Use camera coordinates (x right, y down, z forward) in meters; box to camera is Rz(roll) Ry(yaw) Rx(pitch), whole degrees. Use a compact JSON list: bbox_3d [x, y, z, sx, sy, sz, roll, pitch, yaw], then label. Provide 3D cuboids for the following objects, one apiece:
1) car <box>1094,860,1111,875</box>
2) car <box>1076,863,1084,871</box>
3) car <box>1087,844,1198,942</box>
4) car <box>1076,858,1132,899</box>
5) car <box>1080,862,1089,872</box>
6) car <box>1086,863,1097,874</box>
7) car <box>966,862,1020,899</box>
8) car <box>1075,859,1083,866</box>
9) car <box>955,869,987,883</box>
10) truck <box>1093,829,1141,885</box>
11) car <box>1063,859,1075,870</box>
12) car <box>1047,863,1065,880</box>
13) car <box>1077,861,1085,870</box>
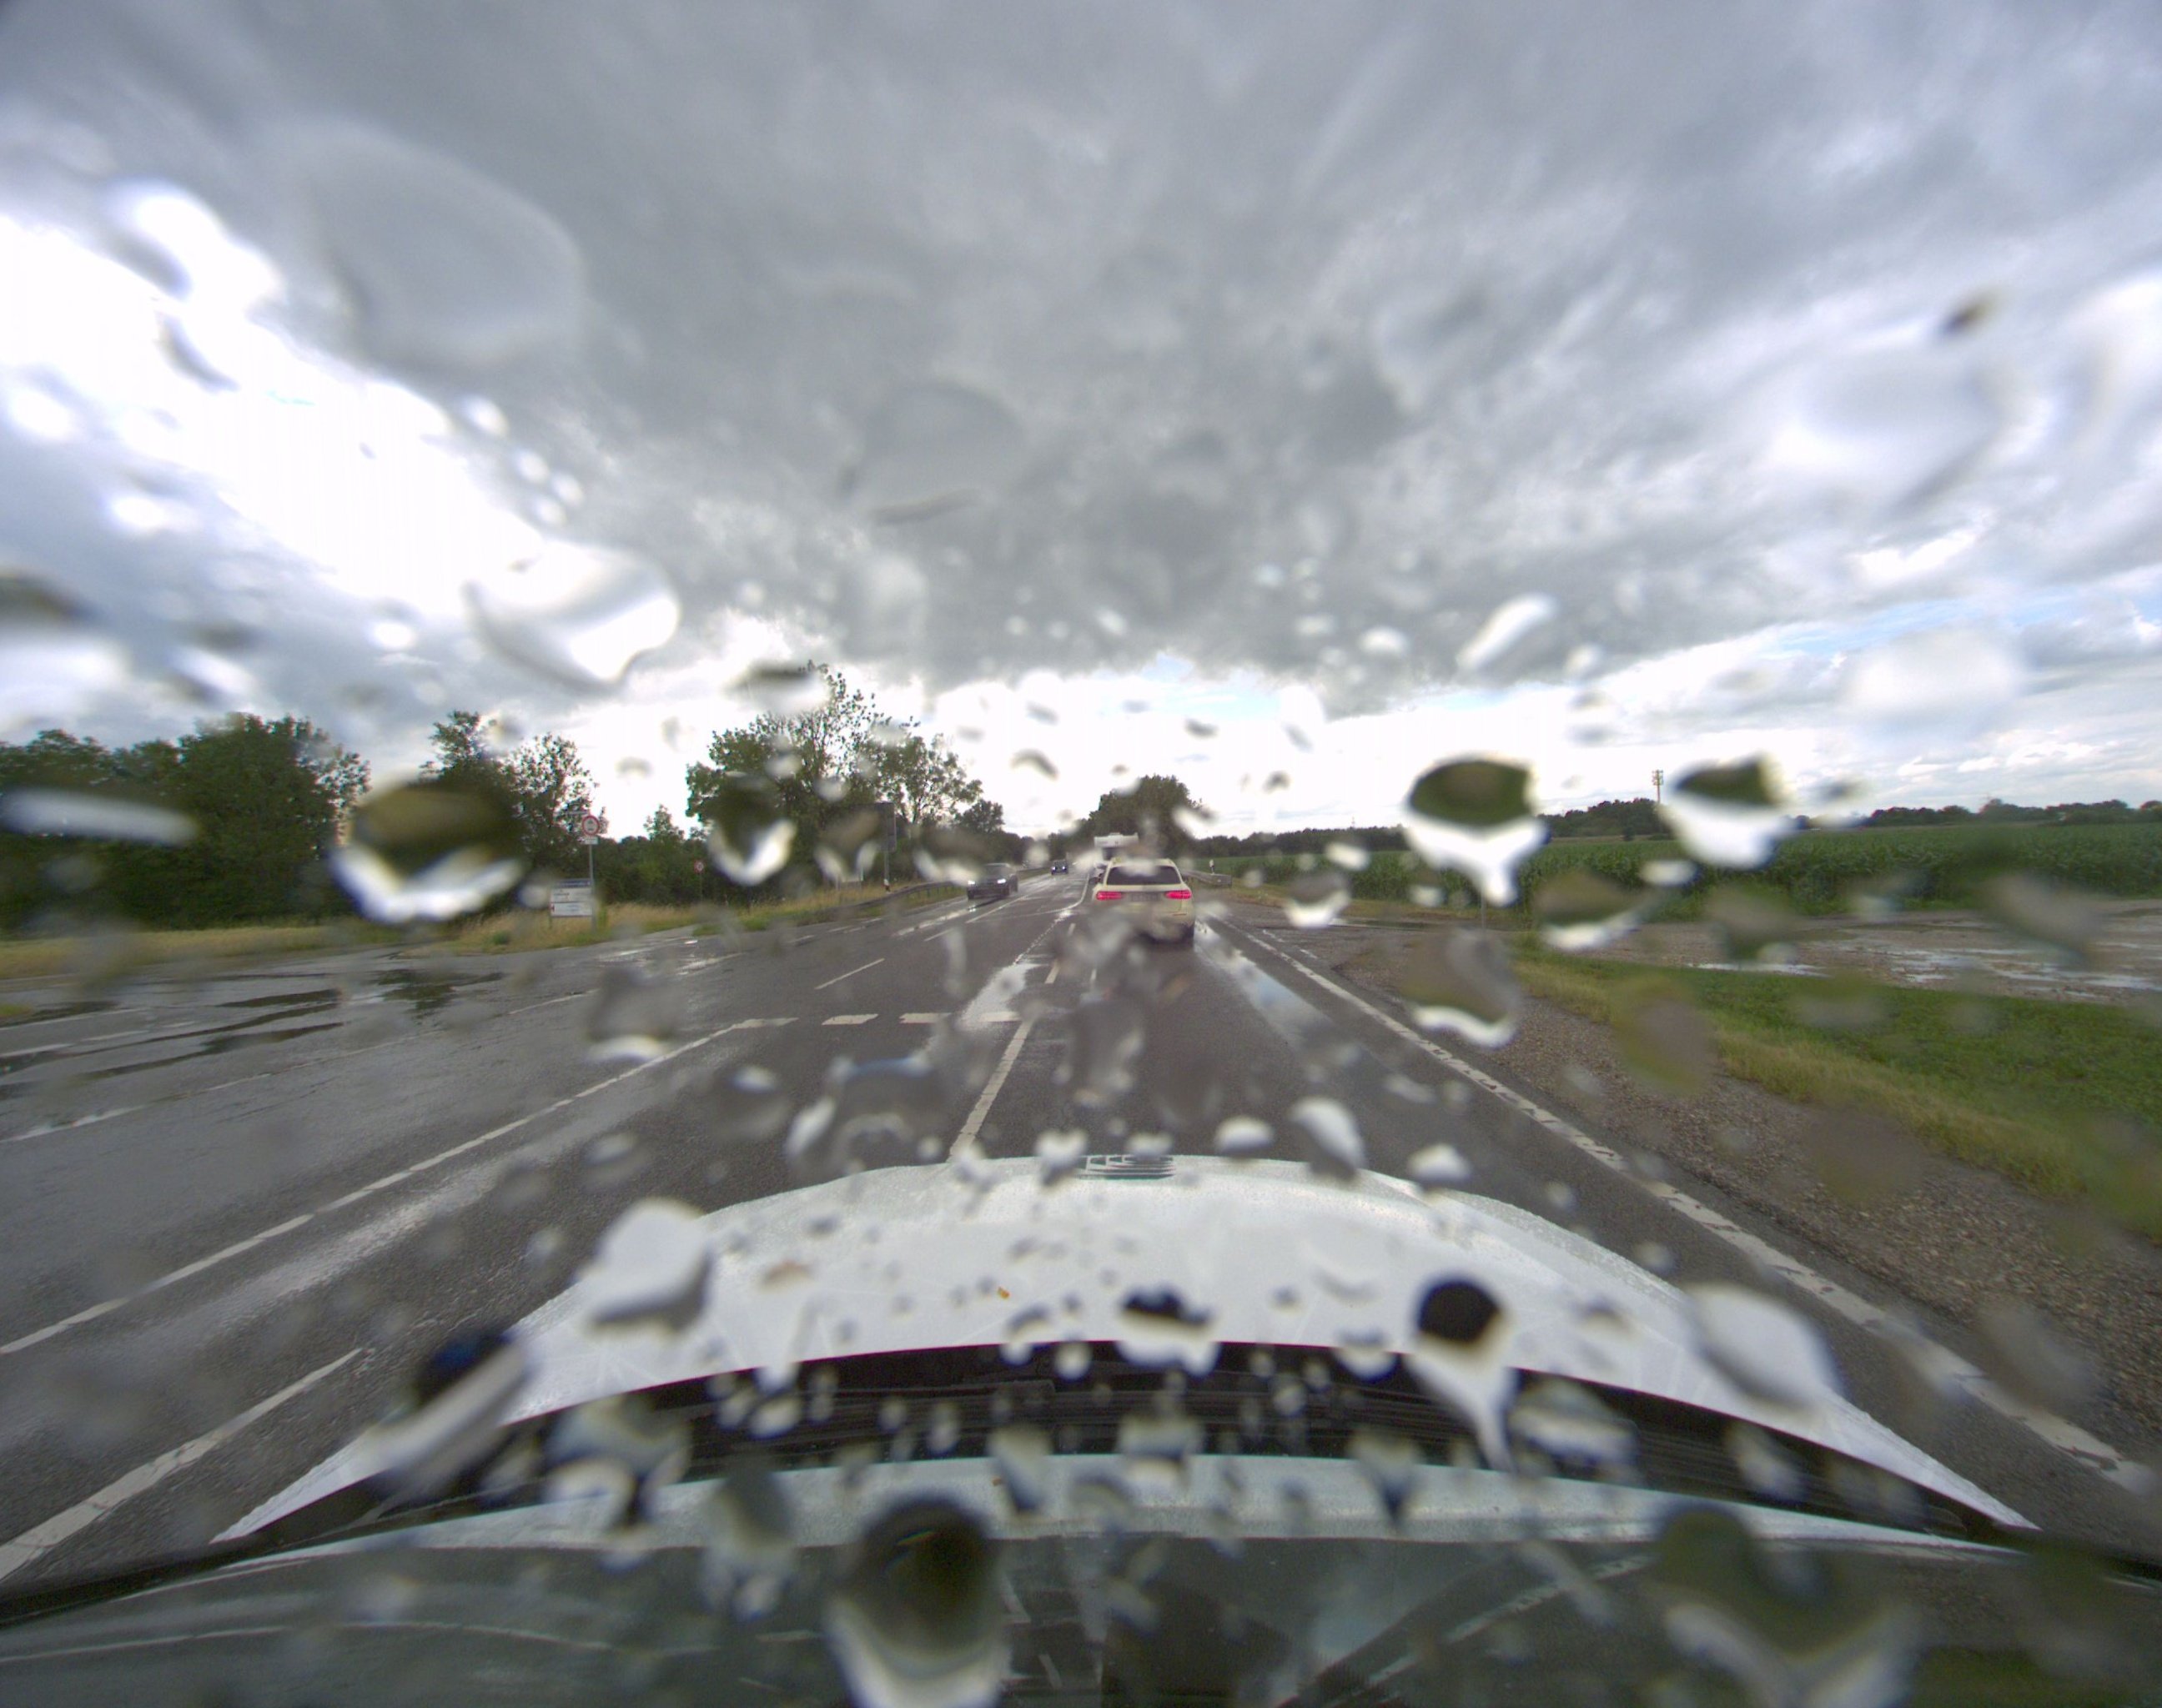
[{"bbox_3d":[2.681,1.642,100.237,1.907,1.841,3.799,-2,0,3],"label":"car"},{"bbox_3d":[-0.333,3.164,199.071,1.744,1.662,3.670,-4,-1,-1],"label":"car"},{"bbox_3d":[1.095,0.670,15.607,1.836,1.618,4.001,-1,0,2],"label":"car"},{"bbox_3d":[0.889,0.891,30.819,1.986,1.462,4.001,0,-1,2],"label":"car"},{"bbox_3d":[0.743,2.645,172.376,1.845,2.013,3.812,-2,0,2],"label":"car"},{"bbox_3d":[1.906,2.600,145.775,1.784,1.777,3.722,-2,0,2],"label":"car"},{"bbox_3d":[-3.899,1.150,36.571,1.821,1.574,4.002,0,-1,2],"label":"car"},{"bbox_3d":[-0.616,2.165,208.207,1.890,1.895,3.841,-2,-1,-1],"label":"car"},{"bbox_3d":[-12.857,2.548,95.428,2.287,1.547,4.645,0,-1,10],"label":"car"},{"bbox_3d":[1.946,0.177,44.846,2.354,2.729,7.317,-2,0,2],"label":"truck"},{"bbox_3d":[-1.778,1.559,121.249,1.602,1.492,3.787,-2,0,2],"label":"car"},{"bbox_3d":[-2.613,1.795,85.489,1.574,1.640,3.442,-2,0,1],"label":"car"},{"bbox_3d":[0.098,2.629,189.653,1.733,1.860,3.786,-2,0,2],"label":"car"}]
